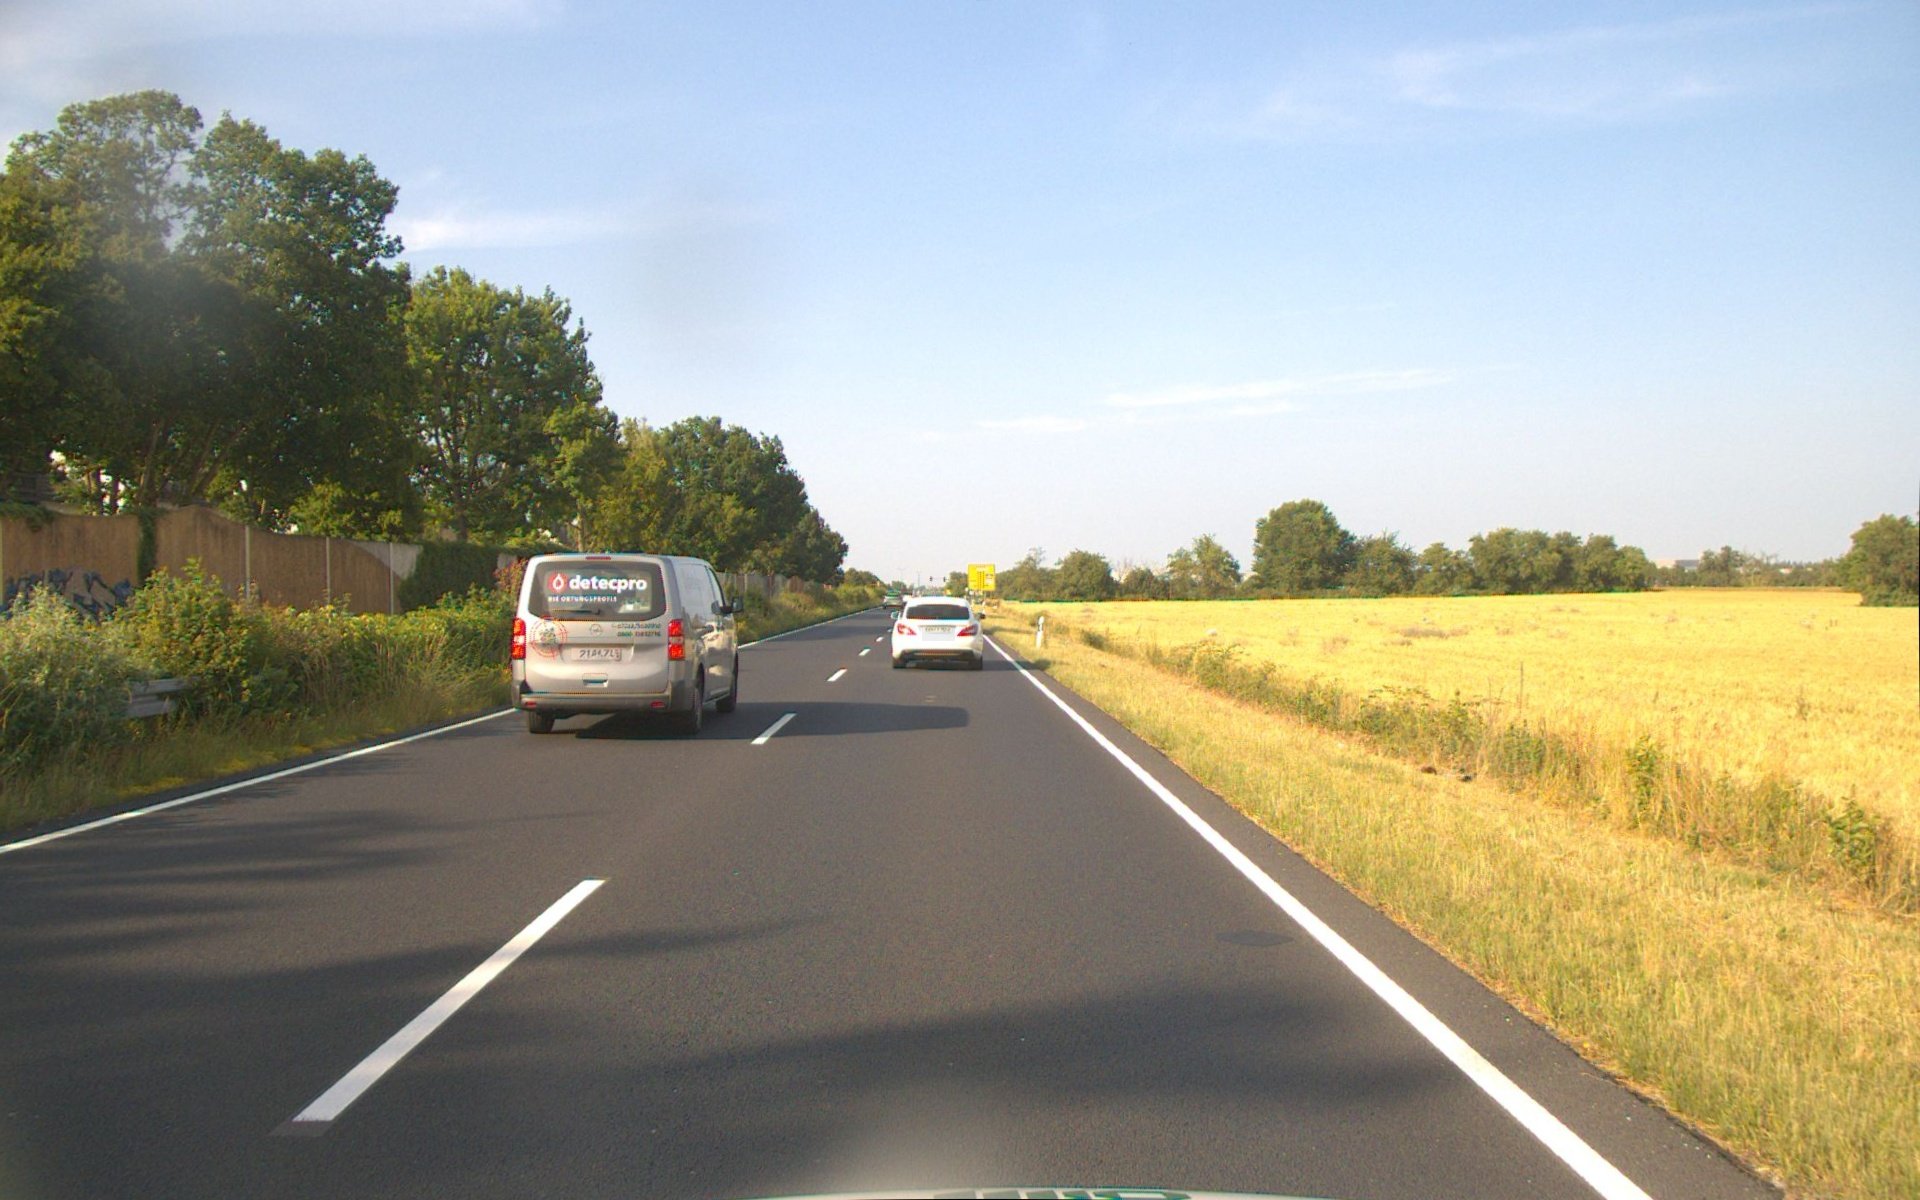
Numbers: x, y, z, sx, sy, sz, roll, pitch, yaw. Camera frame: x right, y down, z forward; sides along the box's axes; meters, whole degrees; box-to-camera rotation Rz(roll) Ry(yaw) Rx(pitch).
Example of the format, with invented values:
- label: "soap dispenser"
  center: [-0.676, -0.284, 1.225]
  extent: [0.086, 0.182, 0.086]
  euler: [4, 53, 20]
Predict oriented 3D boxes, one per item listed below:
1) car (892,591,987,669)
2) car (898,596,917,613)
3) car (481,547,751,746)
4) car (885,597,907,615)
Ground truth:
- label: "car"
  center: [-0.437, 0.595, 34.363]
  extent: [1.856, 1.535, 3.999]
  euler: [0, 0, -1]
- label: "car"
  center: [-5.249, 0.465, 165.045]
  extent: [1.839, 1.680, 3.662]
  euler: [1, 0, -2]
- label: "car"
  center: [-3.702, 0.444, 18.763]
  extent: [1.984, 1.925, 4.958]
  euler: [1, 0, 0]
- label: "car"
  center: [-5.385, 0.517, 139.563]
  extent: [1.682, 1.518, 3.584]
  euler: [1, 0, 0]
